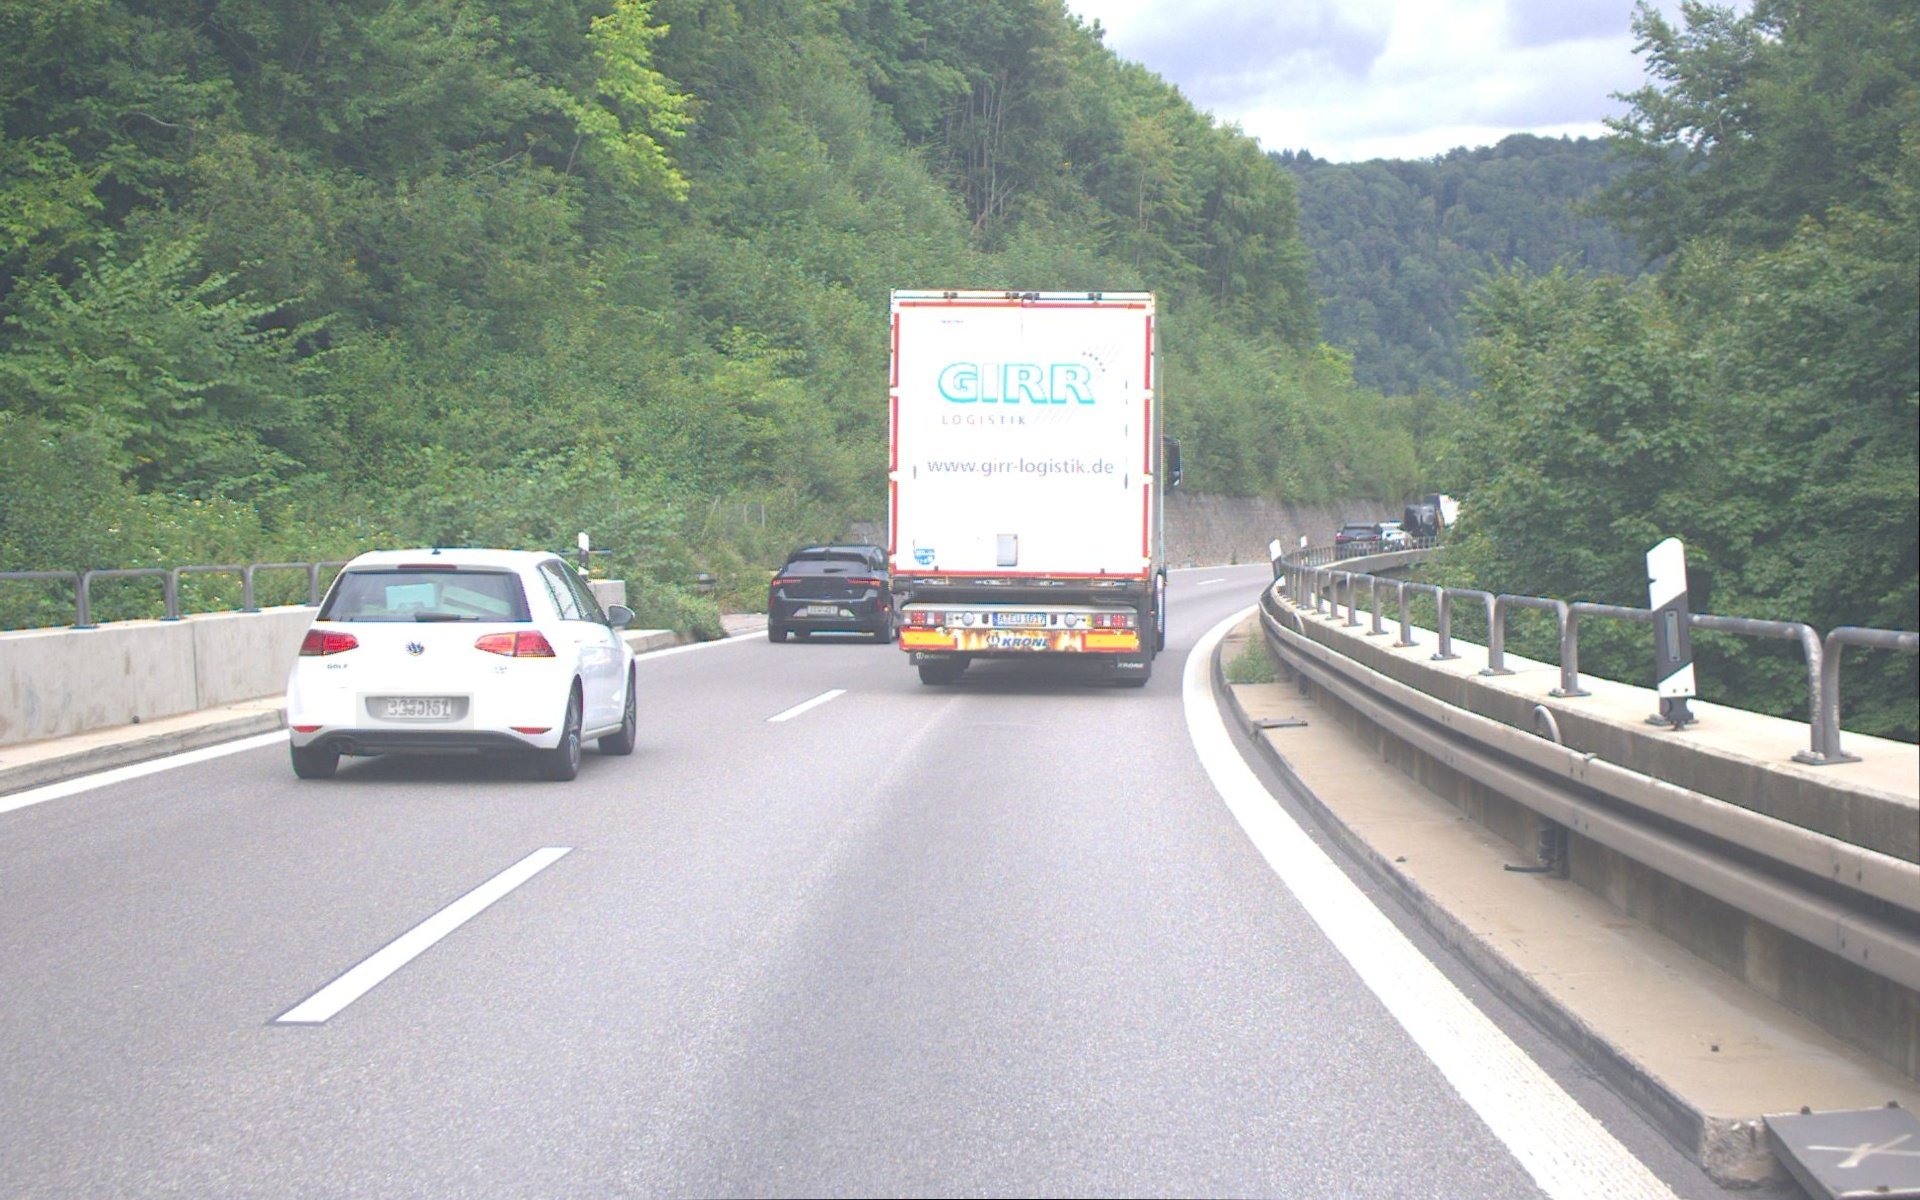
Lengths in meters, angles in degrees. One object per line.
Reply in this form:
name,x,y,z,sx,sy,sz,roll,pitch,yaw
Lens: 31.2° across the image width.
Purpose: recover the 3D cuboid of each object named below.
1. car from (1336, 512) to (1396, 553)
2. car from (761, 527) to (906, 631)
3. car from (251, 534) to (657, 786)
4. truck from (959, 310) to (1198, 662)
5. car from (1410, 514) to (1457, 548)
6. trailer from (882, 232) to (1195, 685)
car,16.636,-2.767,140.697,1.994,1.560,3.998,-1,0,13
car,-1.829,-0.313,50.882,1.773,1.456,4.581,0,0,3
car,-3.190,0.310,22.594,1.845,1.476,4.628,0,1,2
truck,1.670,-1.416,45.514,2.814,4.288,6.258,-1,0,4
car,25.350,-3.704,183.924,1.995,1.777,3.997,1,1,15
trailer,1.163,-1.383,39.047,2.814,4.288,12.243,-1,0,4
